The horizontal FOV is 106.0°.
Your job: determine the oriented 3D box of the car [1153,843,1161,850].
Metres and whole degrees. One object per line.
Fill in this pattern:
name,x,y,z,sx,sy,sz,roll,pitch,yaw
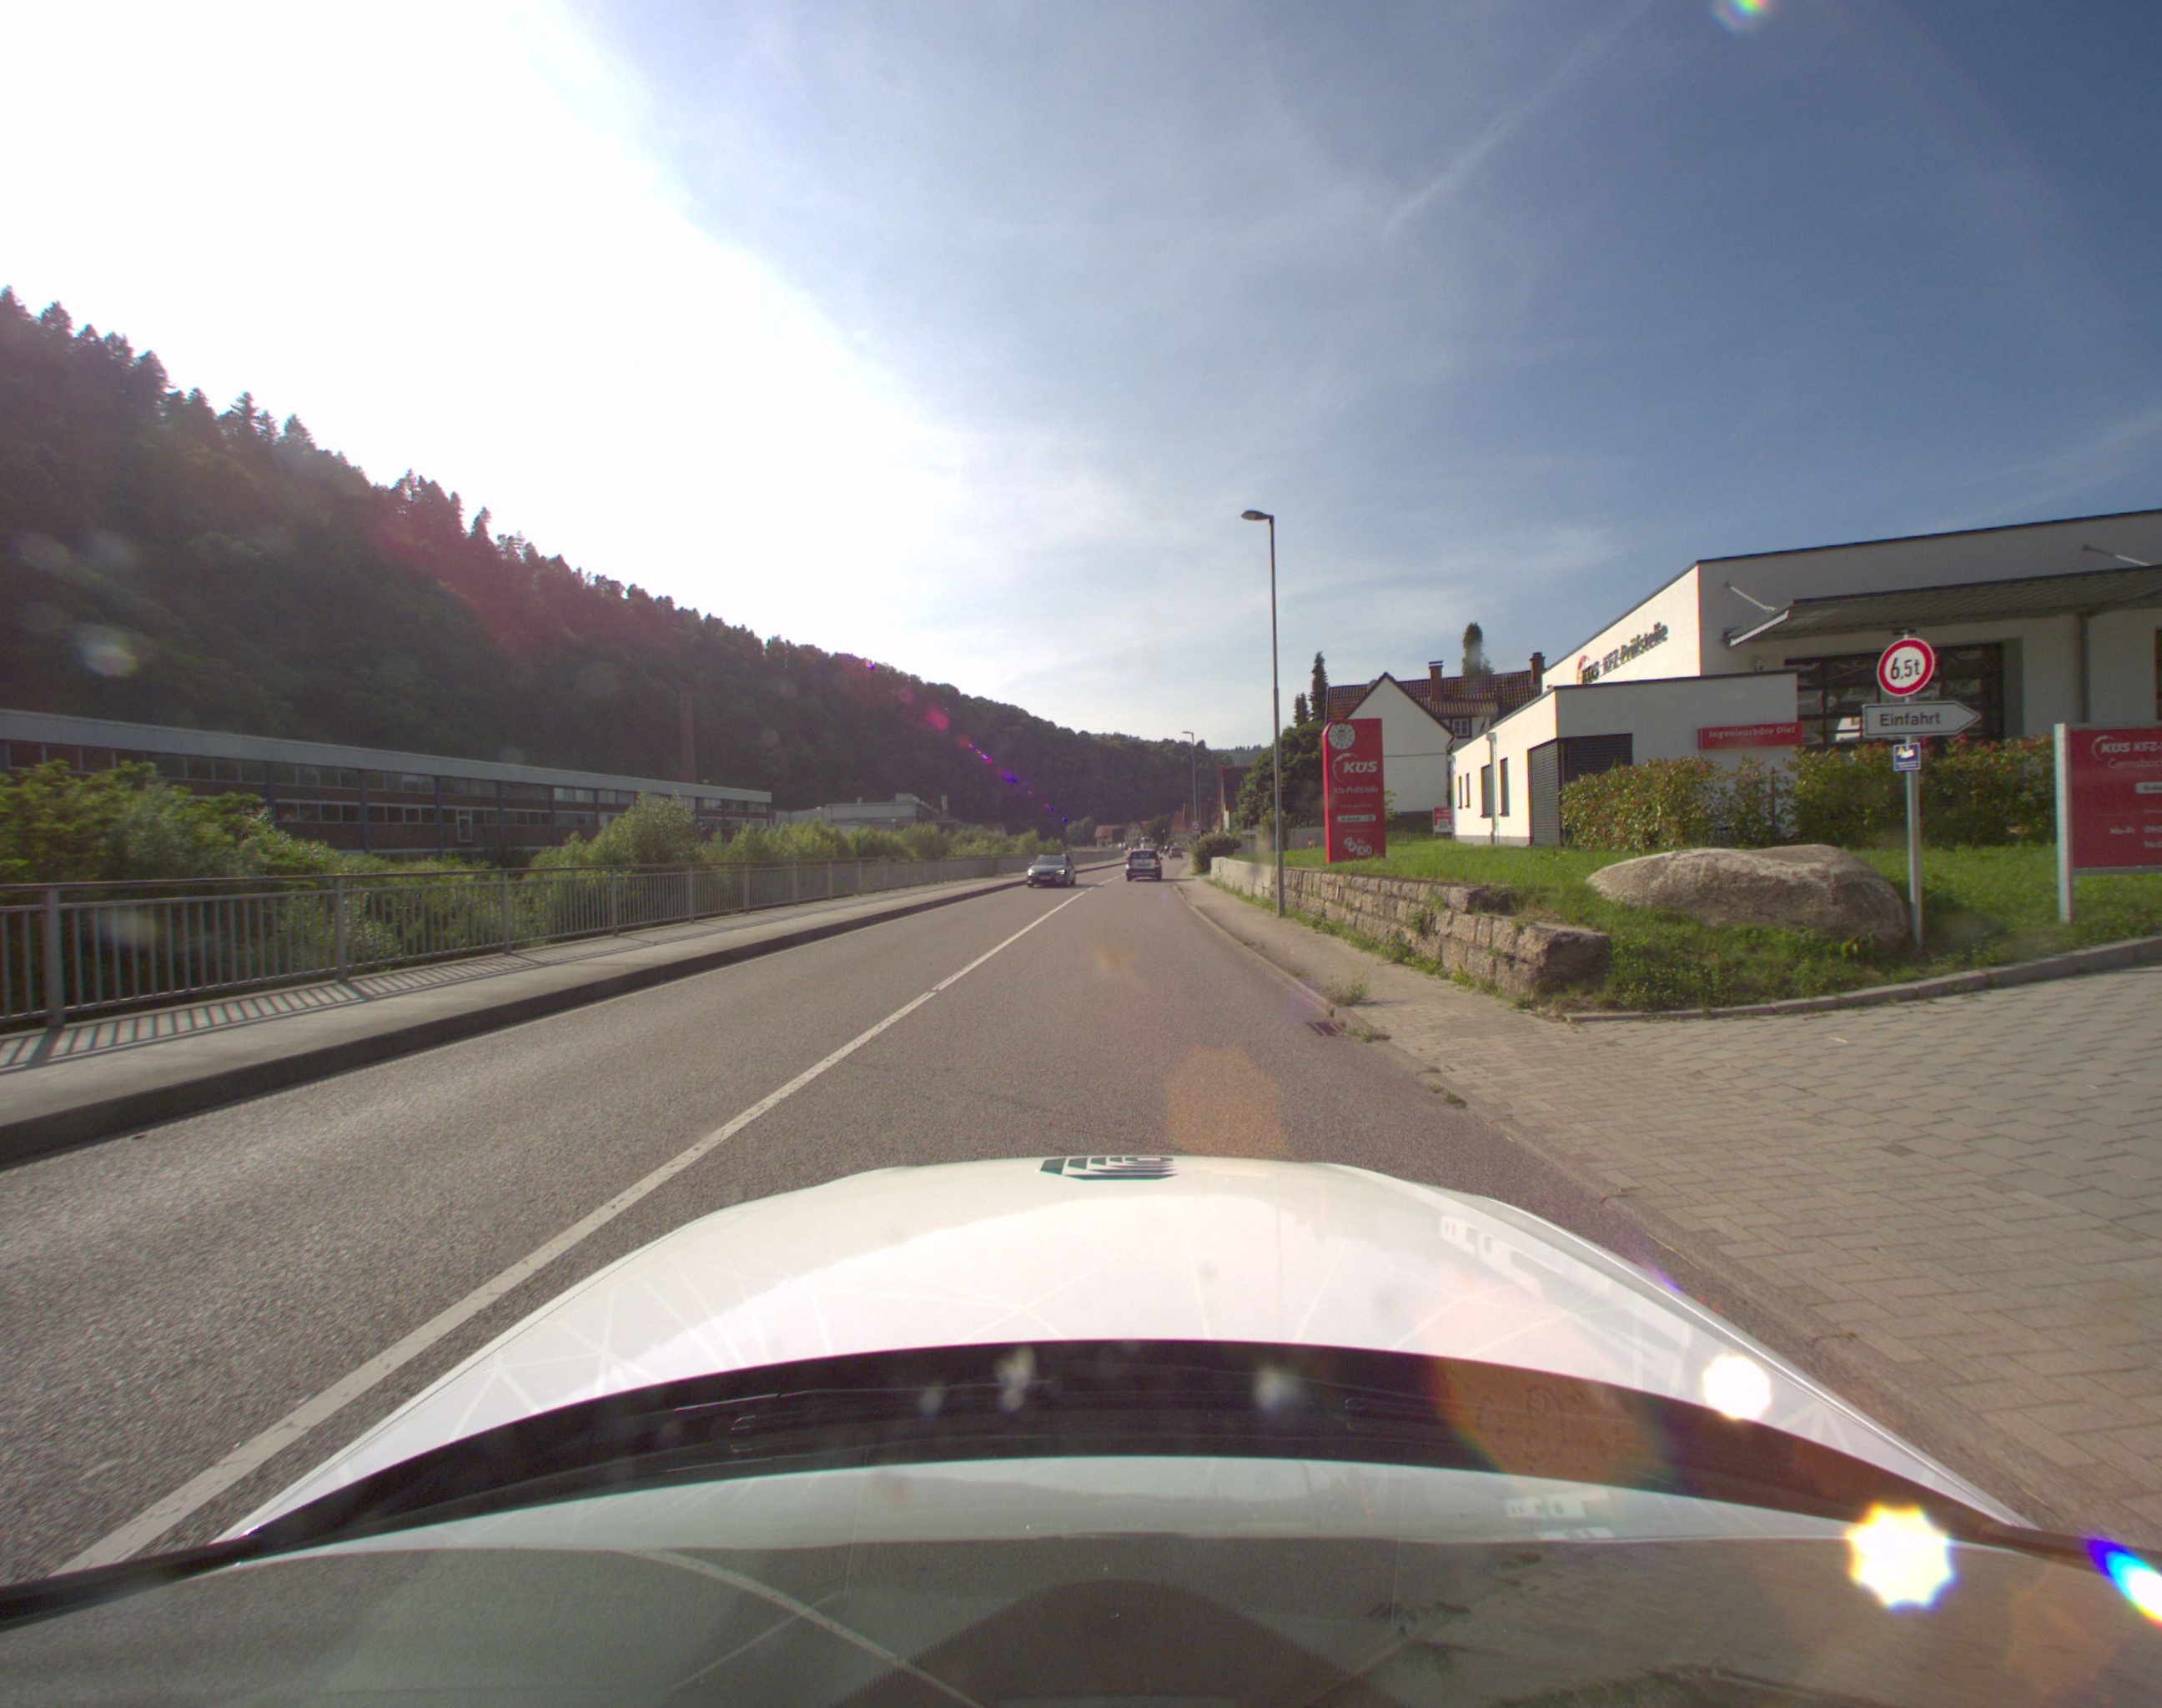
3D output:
car,18.262,-1.800,194.884,1.665,1.752,3.456,-1,1,8

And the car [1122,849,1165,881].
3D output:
car,3.317,0.522,42.737,1.850,1.544,4.384,-1,0,9

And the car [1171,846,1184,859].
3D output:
car,12.361,-0.196,104.000,1.613,1.541,3.284,-2,-1,7

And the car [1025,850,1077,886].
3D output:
car,-1.294,0.618,36.795,1.805,1.484,4.803,-2,-1,4

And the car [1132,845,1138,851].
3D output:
car,14.239,-1.566,213.869,1.427,1.383,3.137,-2,1,3

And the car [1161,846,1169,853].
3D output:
car,15.337,-0.857,149.014,1.357,1.278,3.088,-2,-1,6

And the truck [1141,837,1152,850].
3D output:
truck,18.157,-3.025,225.815,2.716,3.374,6.487,-1,1,4

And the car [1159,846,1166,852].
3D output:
car,16.879,-0.995,168.627,1.358,1.278,3.087,-2,-1,5
